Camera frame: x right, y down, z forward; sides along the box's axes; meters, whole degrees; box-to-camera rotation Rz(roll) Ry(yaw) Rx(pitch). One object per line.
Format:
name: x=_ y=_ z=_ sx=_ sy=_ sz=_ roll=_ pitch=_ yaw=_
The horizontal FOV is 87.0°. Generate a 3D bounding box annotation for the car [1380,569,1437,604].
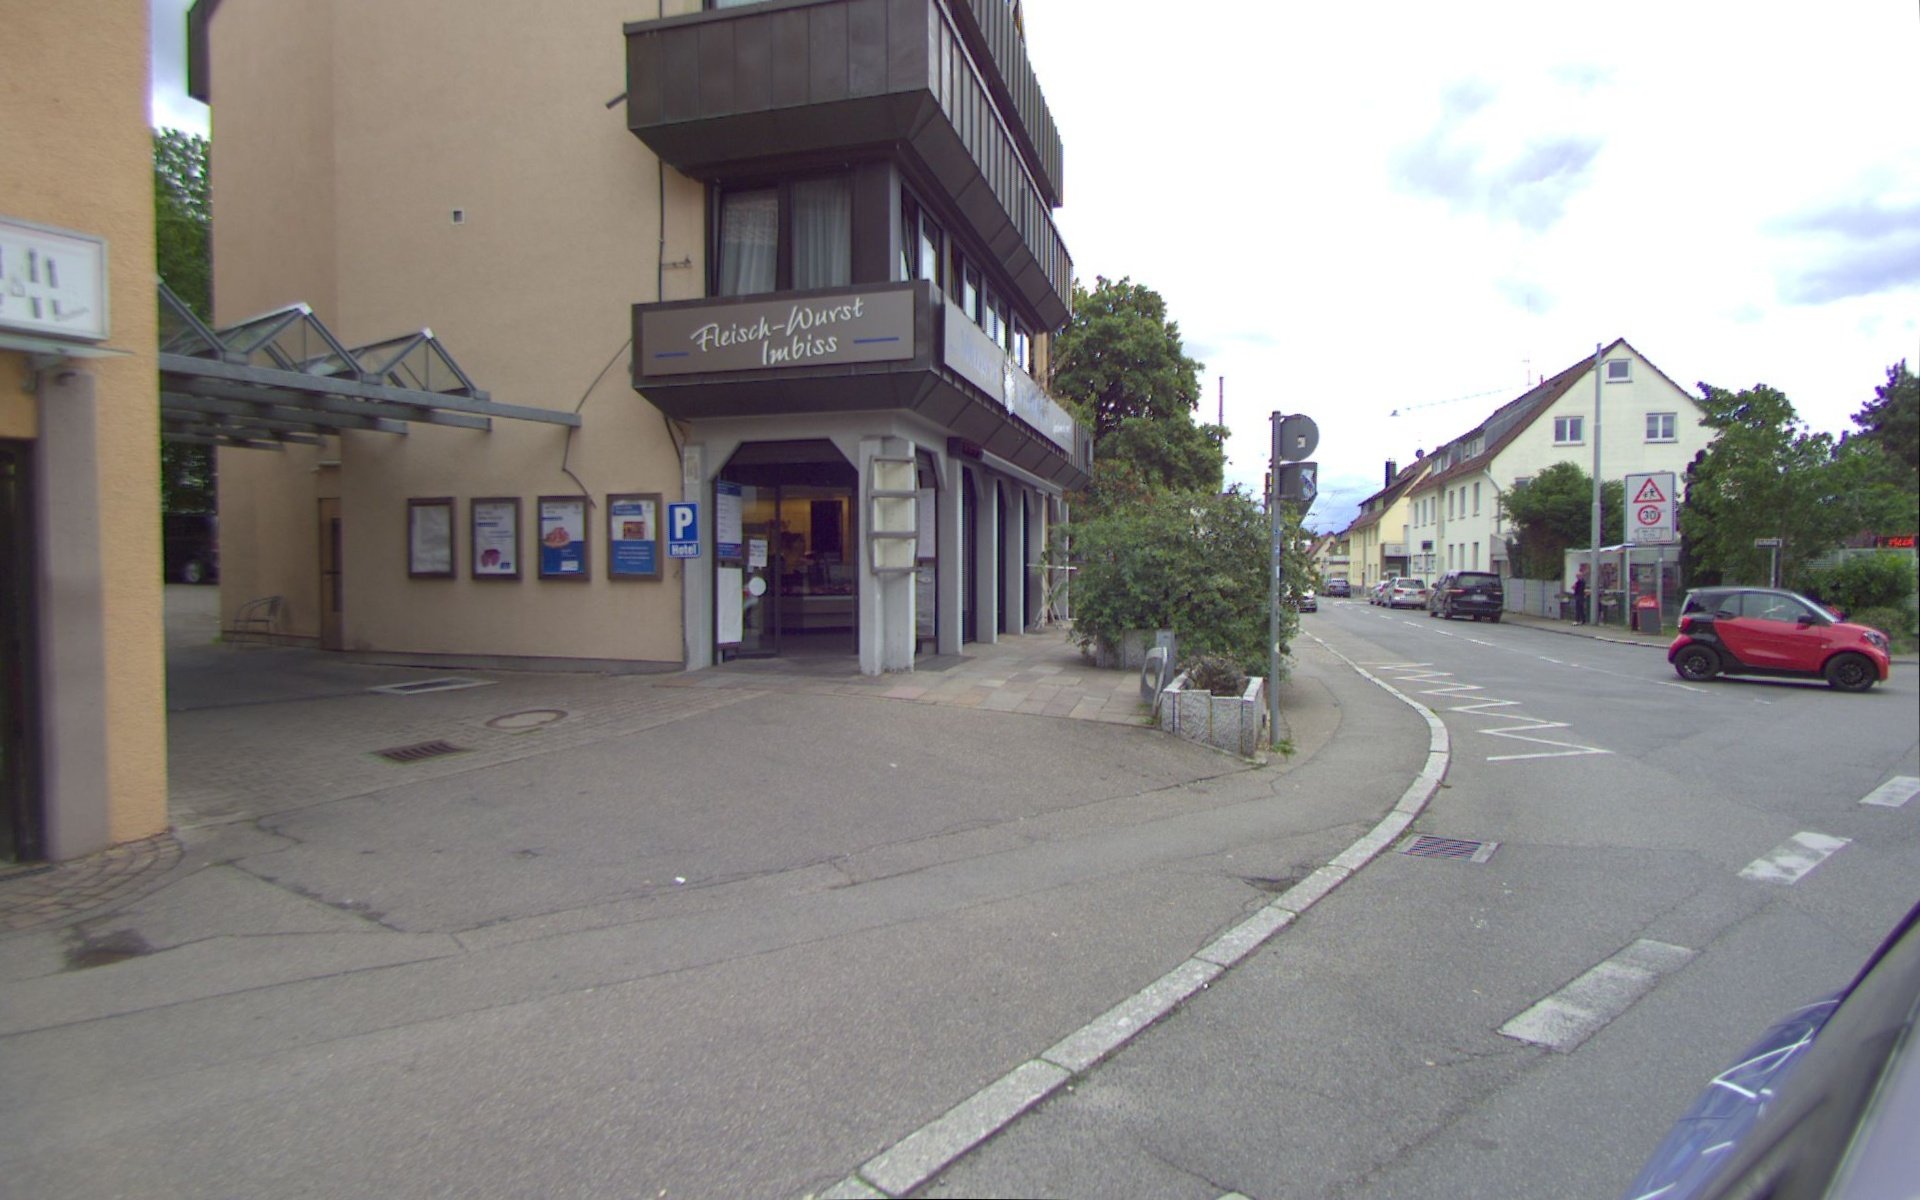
car: x=23.351 y=-0.729 z=52.819 sx=1.971 sy=1.694 sz=4.374 roll=2 pitch=2 yaw=14

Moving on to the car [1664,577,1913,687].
car: x=13.205 y=0.437 z=16.238 sx=2.928 sy=1.539 sz=1.793 roll=2 pitch=2 yaw=42

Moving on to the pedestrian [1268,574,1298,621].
pedestrian: x=10.744 y=-0.093 z=33.693 sx=0.888 sy=1.555 sz=0.955 roll=1 pitch=1 yaw=16

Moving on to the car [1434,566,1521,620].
car: x=19.773 y=-0.322 z=38.858 sx=1.971 sy=1.900 sz=4.374 roll=2 pitch=2 yaw=14

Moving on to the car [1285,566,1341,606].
car: x=16.557 y=-0.687 z=47.694 sx=1.970 sy=1.763 sz=4.377 roll=2 pitch=2 yaw=13

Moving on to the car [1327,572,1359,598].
car: x=31.615 y=-1.290 z=83.635 sx=1.971 sy=2.038 sz=4.374 roll=2 pitch=2 yaw=15

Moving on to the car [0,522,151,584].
car: x=-22.360 y=-1.147 z=24.834 sx=3.942 sy=1.415 sz=1.991 roll=2 pitch=2 yaw=15
